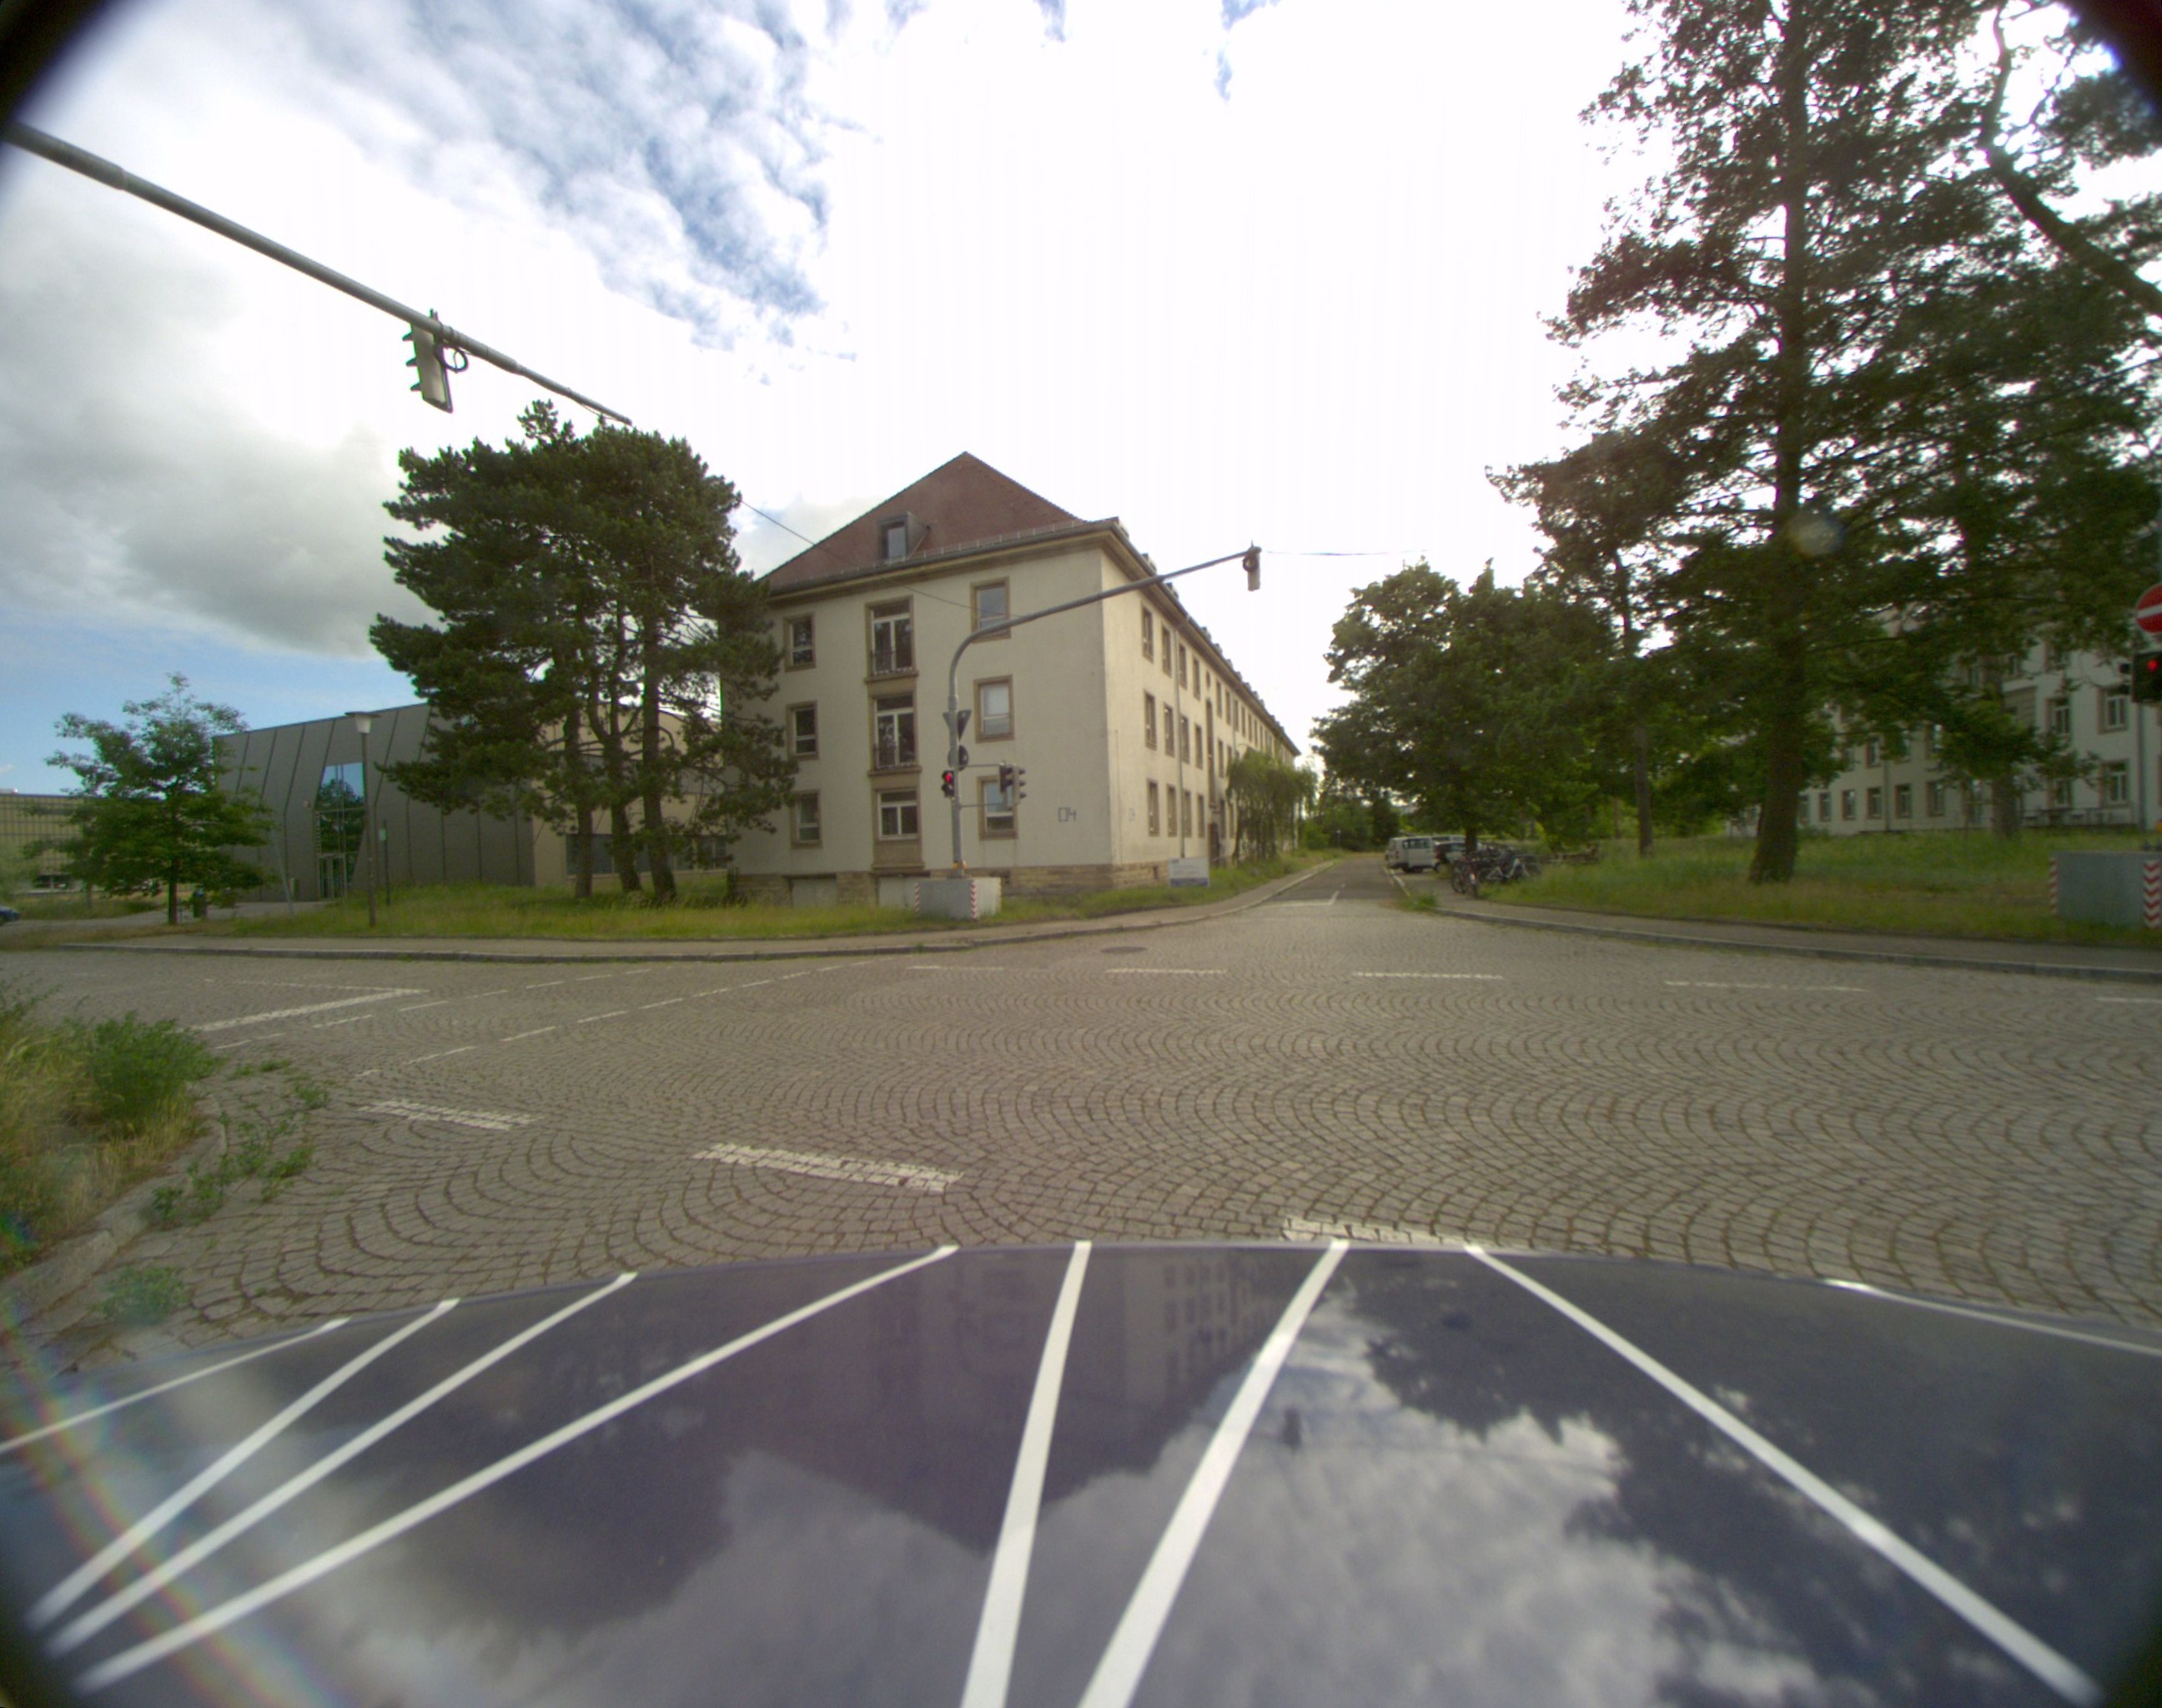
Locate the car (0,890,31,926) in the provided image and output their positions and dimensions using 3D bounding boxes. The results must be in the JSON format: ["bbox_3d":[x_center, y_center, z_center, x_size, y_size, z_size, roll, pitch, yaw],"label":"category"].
[{"bbox_3d":[-47.557,2.464,31.406,1.834,1.455,4.421,-2,3,19],"label":"car"}]

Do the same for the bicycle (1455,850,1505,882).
[{"bbox_3d":[14.544,0.435,27.725,1.454,1.032,0.498,-5,0,16],"label":"bicycle"}]

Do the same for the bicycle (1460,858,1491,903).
[{"bbox_3d":[10.366,0.674,19.986,0.497,1.068,1.418,-4,0,20],"label":"bicycle"}]

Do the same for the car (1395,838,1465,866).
[{"bbox_3d":[24.039,-0.164,52.523,4.085,1.710,1.861,-2,2,13],"label":"car"}]

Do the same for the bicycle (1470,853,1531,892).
[{"bbox_3d":[12.370,0.548,22.429,1.455,1.032,0.498,-5,0,14],"label":"bicycle"}]

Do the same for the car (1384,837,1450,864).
[{"bbox_3d":[24.592,-0.259,55.737,4.085,1.757,1.832,-2,2,13],"label":"car"}]

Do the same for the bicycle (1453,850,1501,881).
[{"bbox_3d":[14.686,0.438,28.230,1.454,1.032,0.498,-5,0,16],"label":"bicycle"}]

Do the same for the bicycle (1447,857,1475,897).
[{"bbox_3d":[10.765,0.645,21.554,0.497,1.032,1.418,-4,0,20],"label":"bicycle"}]

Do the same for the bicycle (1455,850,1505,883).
[{"bbox_3d":[14.299,0.446,27.253,1.454,1.032,0.498,-5,0,16],"label":"bicycle"}]

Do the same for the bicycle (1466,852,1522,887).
[{"bbox_3d":[13.384,0.507,24.630,1.454,1.032,0.498,-5,0,16],"label":"bicycle"}]

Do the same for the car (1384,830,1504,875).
[{"bbox_3d":[18.719,-0.072,39.406,5.164,1.905,2.037,-4,0,8],"label":"car"}]

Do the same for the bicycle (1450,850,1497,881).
[{"bbox_3d":[14.804,0.435,28.694,1.454,1.032,0.498,-5,0,16],"label":"bicycle"}]

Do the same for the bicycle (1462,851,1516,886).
[{"bbox_3d":[13.566,0.479,25.301,1.454,1.032,0.498,-5,0,16],"label":"bicycle"}]

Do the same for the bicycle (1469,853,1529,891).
[{"bbox_3d":[12.712,0.545,23.151,1.454,1.032,0.498,-5,0,16],"label":"bicycle"}]

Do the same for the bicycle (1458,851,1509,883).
[{"bbox_3d":[14.162,0.461,26.780,1.454,1.032,0.498,-5,0,16],"label":"bicycle"}]

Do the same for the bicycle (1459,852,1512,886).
[{"bbox_3d":[13.704,0.499,25.751,1.454,1.032,0.498,-5,0,16],"label":"bicycle"}]

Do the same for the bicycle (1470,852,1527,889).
[{"bbox_3d":[13.202,0.525,24.073,1.454,1.032,0.498,-5,0,16],"label":"bicycle"}]

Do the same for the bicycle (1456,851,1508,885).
[{"bbox_3d":[13.839,0.478,26.226,1.454,1.032,0.498,-5,0,16],"label":"bicycle"}]

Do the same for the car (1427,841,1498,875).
[{"bbox_3d":[18.064,0.199,36.083,2.768,1.407,1.594,-4,0,20],"label":"car"}]
